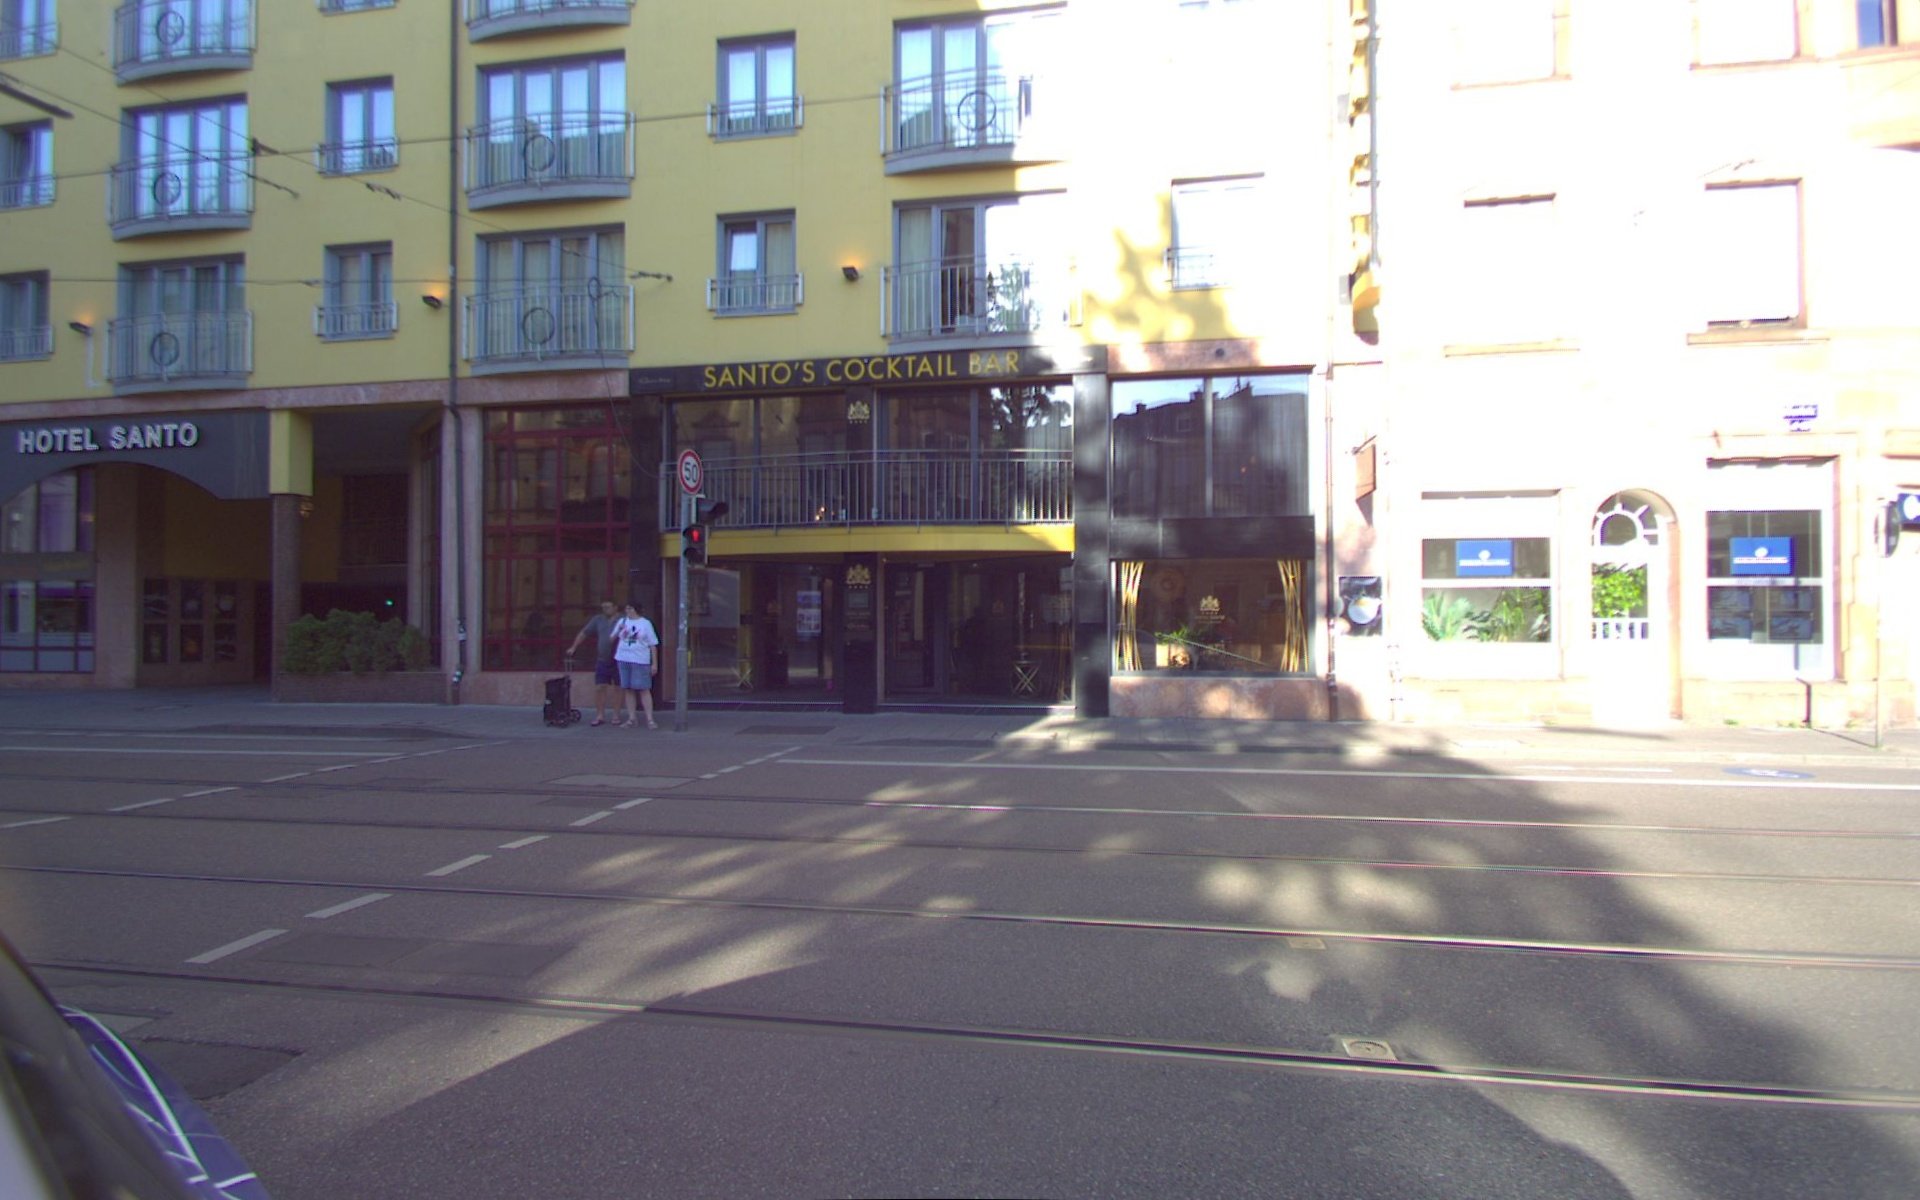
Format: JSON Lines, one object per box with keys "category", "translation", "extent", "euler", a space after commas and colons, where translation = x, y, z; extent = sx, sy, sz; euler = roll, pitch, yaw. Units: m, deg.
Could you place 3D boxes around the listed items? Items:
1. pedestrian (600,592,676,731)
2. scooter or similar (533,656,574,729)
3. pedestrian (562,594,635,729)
{"category": "pedestrian", "translation": [-4.461, 0.837, 14.063], "extent": [0.727, 1.854, 0.725], "euler": [0, 2, 10]}
{"category": "scooter or similar", "translation": [-5.715, 1.295, 14.245], "extent": [0.353, 0.984, 0.422], "euler": [-1, 2, 8]}
{"category": "pedestrian", "translation": [-5.141, 0.852, 14.432], "extent": [0.671, 1.854, 0.725], "euler": [0, 2, 10]}
